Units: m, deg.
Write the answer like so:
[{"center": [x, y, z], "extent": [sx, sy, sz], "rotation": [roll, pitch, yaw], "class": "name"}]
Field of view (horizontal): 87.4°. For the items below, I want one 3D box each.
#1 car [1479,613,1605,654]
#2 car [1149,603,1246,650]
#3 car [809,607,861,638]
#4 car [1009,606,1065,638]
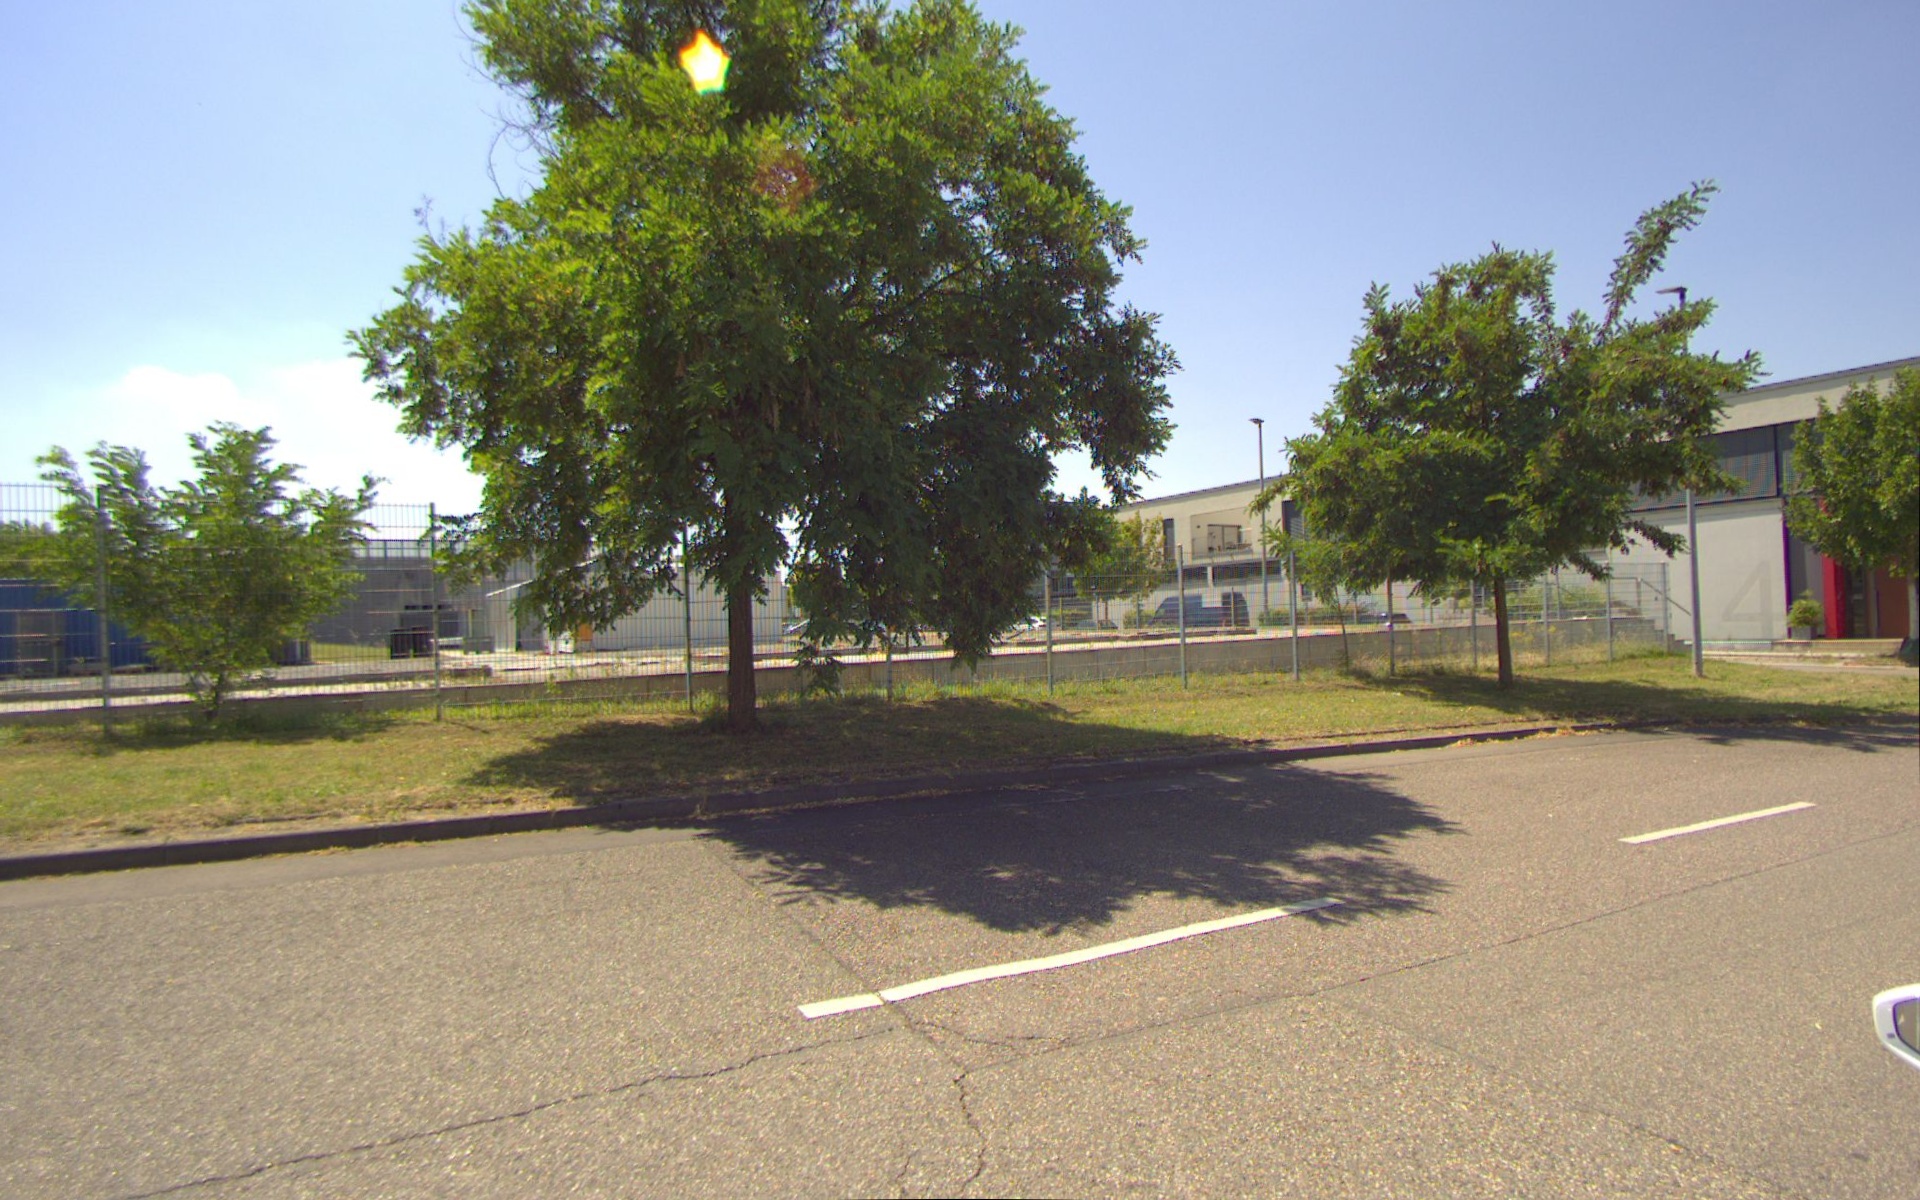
[{"center": [22.881, 1.287, 39.621], "extent": [1.637, 1.427, 3.983], "rotation": [-4, 1, -29], "class": "car"}, {"center": [12.832, 1.404, 54.681], "extent": [2.107, 2.303, 5.220], "rotation": [-4, 1, -29], "class": "car"}, {"center": [-8.508, 1.508, 68.047], "extent": [2.255, 2.040, 3.972], "rotation": [-1, -1, -27], "class": "car"}, {"center": [5.209, 1.508, 68.781], "extent": [1.947, 2.040, 3.971], "rotation": [-4, 1, -28], "class": "car"}]
